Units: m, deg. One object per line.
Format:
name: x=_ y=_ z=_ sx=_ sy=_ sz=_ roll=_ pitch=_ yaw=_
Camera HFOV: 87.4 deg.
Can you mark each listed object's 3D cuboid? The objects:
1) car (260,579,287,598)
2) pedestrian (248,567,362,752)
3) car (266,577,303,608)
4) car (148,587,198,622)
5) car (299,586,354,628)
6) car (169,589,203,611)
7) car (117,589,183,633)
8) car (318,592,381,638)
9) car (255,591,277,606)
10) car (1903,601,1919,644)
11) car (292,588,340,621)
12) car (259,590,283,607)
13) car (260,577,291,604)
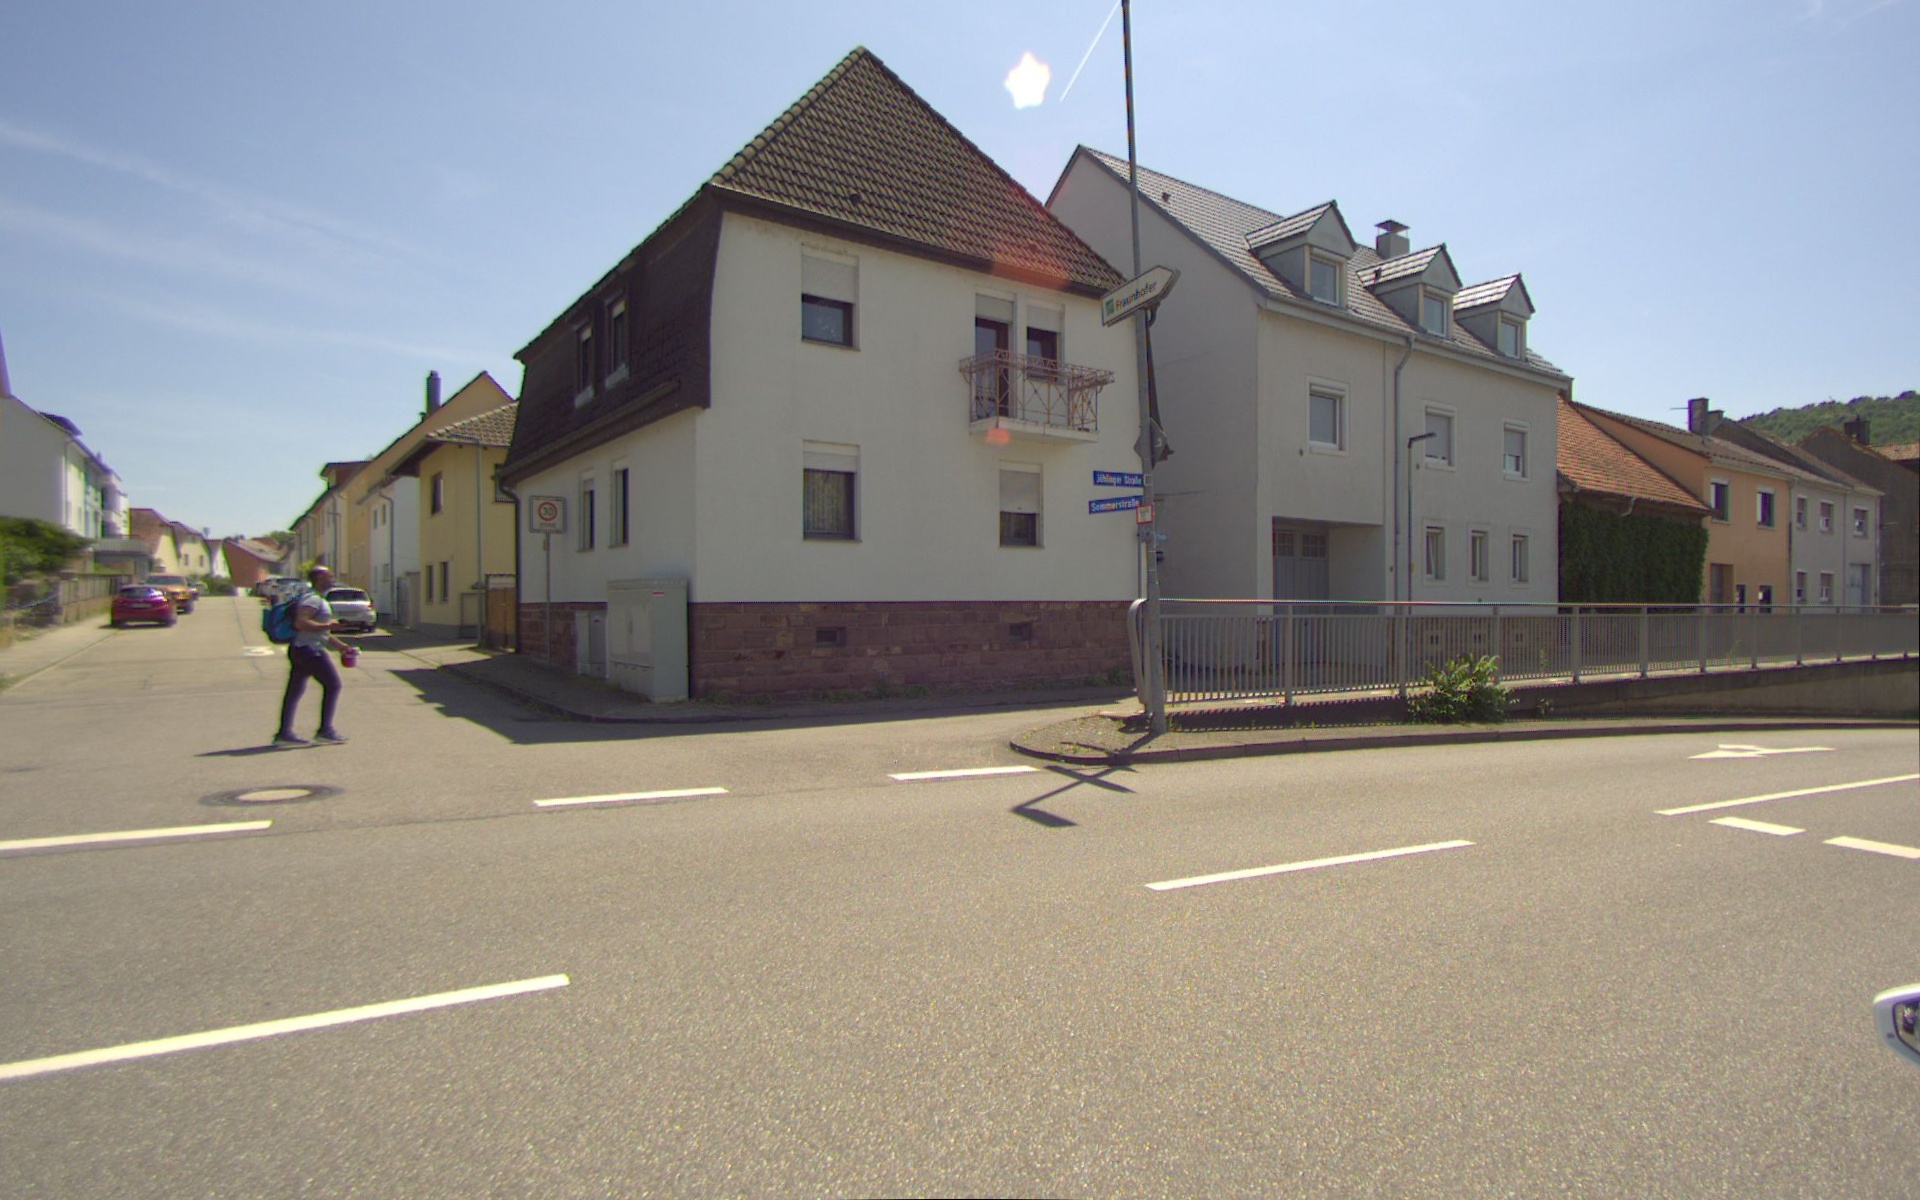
car: x=-55.346 y=-0.922 z=80.933 sx=1.690 sy=1.381 sz=3.635 roll=2 pitch=0 yaw=-35
pedestrian: x=-6.548 y=0.578 z=10.041 sx=0.848 sy=1.752 sz=0.722 roll=3 pitch=0 yaw=-36
car: x=-40.328 y=-0.457 z=59.935 sx=1.690 sy=1.743 sz=3.635 roll=2 pitch=0 yaw=-35
car: x=-35.842 y=0.206 z=45.823 sx=1.599 sy=1.507 sz=3.389 roll=2 pitch=0 yaw=-35
car: x=-25.387 y=0.252 z=40.195 sx=1.641 sy=1.596 sz=3.635 roll=2 pitch=0 yaw=-35
car: x=-50.209 y=-0.006 z=65.214 sx=1.599 sy=1.324 sz=3.321 roll=2 pitch=0 yaw=-35
car: x=-29.018 y=0.377 z=36.040 sx=1.599 sy=1.507 sz=3.389 roll=2 pitch=0 yaw=-35
car: x=-21.215 y=0.510 z=34.862 sx=1.641 sy=1.507 sz=3.148 roll=2 pitch=0 yaw=-35
car: x=-66.400 y=-0.145 z=96.126 sx=1.690 sy=1.381 sz=3.636 roll=2 pitch=-2 yaw=-35
car: x=35.057 y=0.810 z=35.303 sx=4.263 sy=1.482 sz=1.802 roll=0 pitch=1 yaw=-33
car: x=-29.020 y=0.193 z=45.237 sx=1.641 sy=1.386 sz=3.635 roll=2 pitch=0 yaw=-35
car: x=-61.390 y=-0.138 z=89.468 sx=1.690 sy=1.381 sz=3.635 roll=2 pitch=0 yaw=-35
car: x=-47.302 y=-0.659 z=69.419 sx=1.690 sy=1.743 sz=3.635 roll=2 pitch=0 yaw=-35
